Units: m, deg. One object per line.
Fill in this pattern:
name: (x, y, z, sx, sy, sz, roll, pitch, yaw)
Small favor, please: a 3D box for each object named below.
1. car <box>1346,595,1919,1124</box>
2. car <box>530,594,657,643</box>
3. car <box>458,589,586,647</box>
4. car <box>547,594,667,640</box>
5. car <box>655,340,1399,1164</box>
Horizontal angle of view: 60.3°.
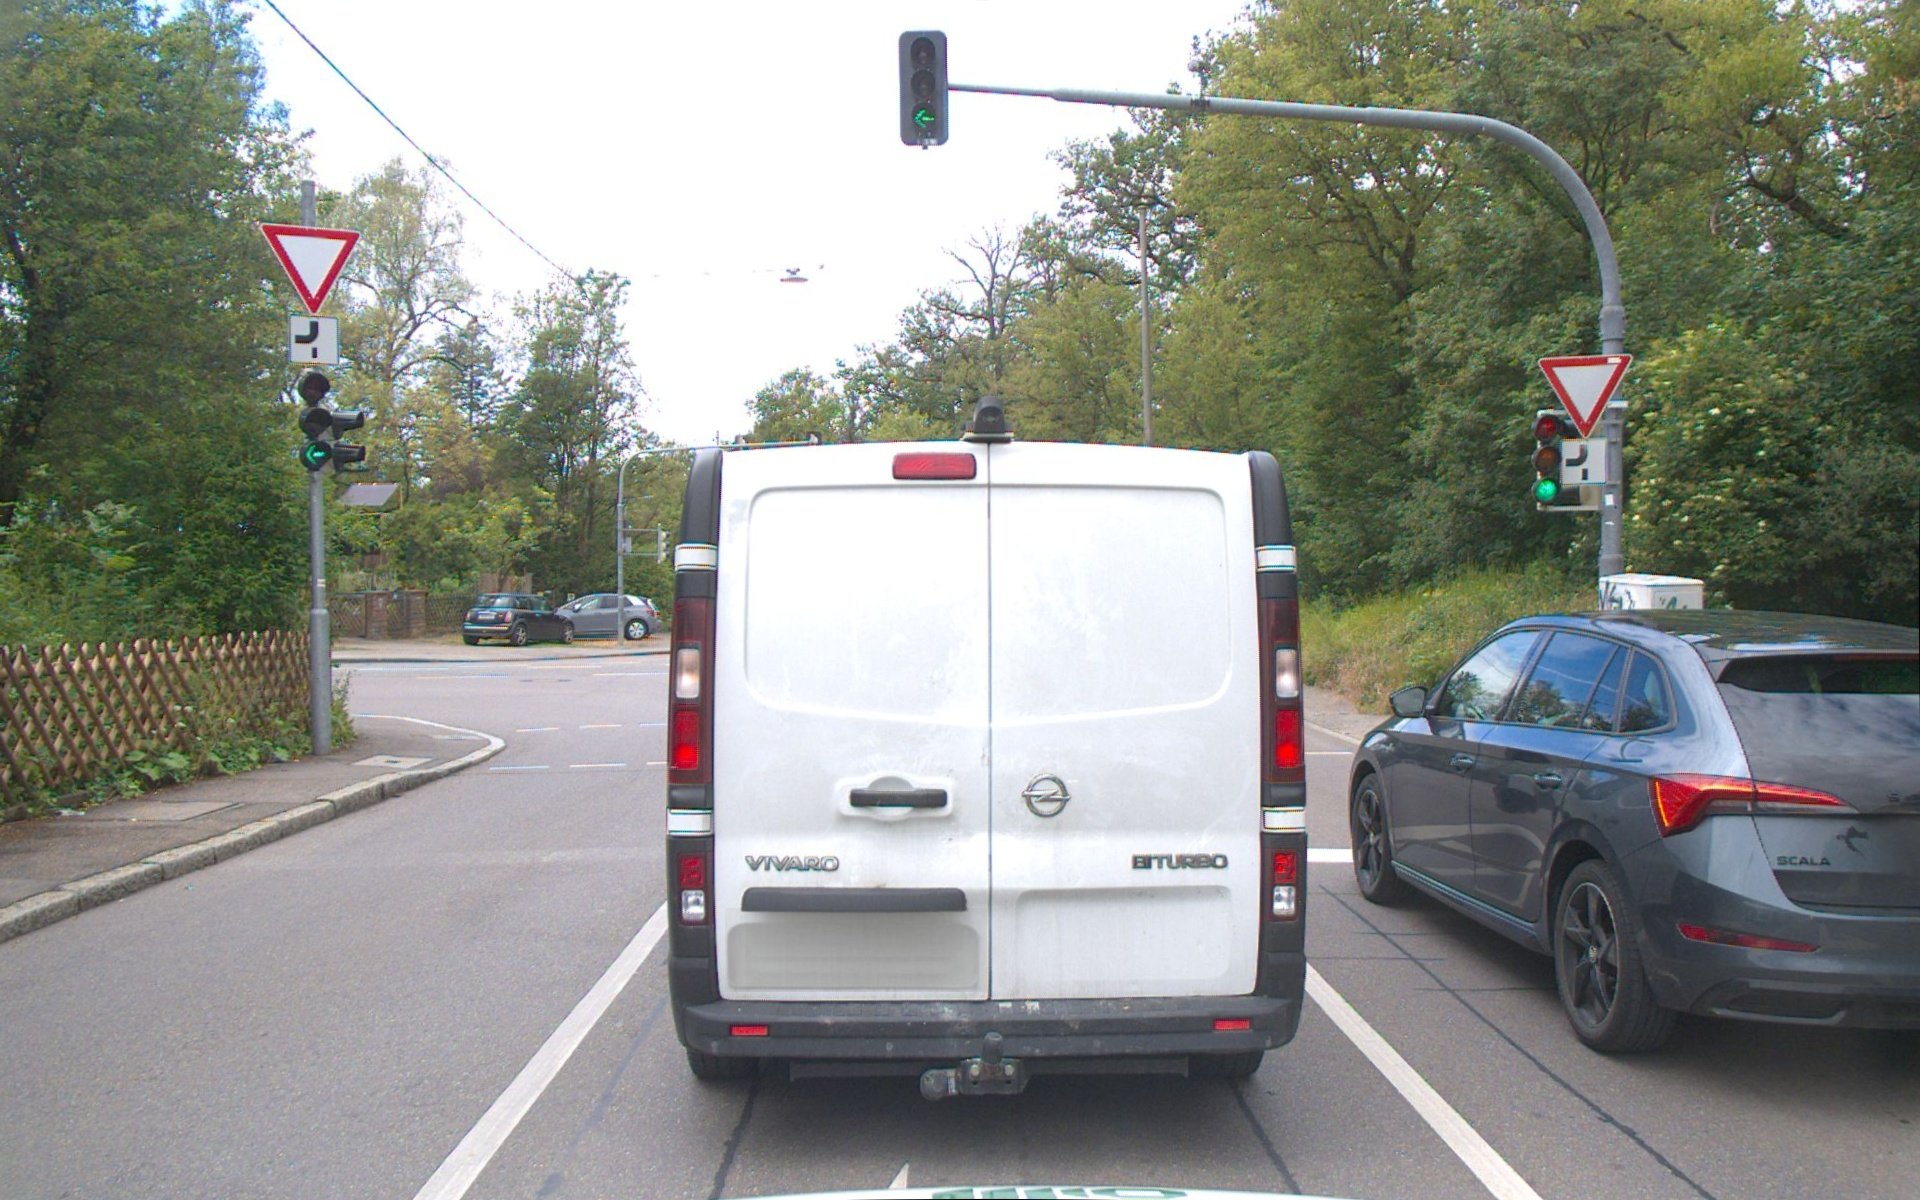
car: (2.969, 0.726, 6.712, 1.756, 1.476, 3.999, 0, 0, -2)
car: (-12.338, 0.604, 55.594, 4.023, 1.580, 1.845, 0, 1, -18)
car: (-11.980, 0.485, 45.426, 1.662, 1.474, 3.544, 2, 0, 19)
car: (-12.536, 0.585, 58.739, 4.023, 1.580, 1.845, 0, 1, -18)
car: (0.069, 0.389, 6.567, 1.878, 2.089, 4.611, 1, 0, -3)
